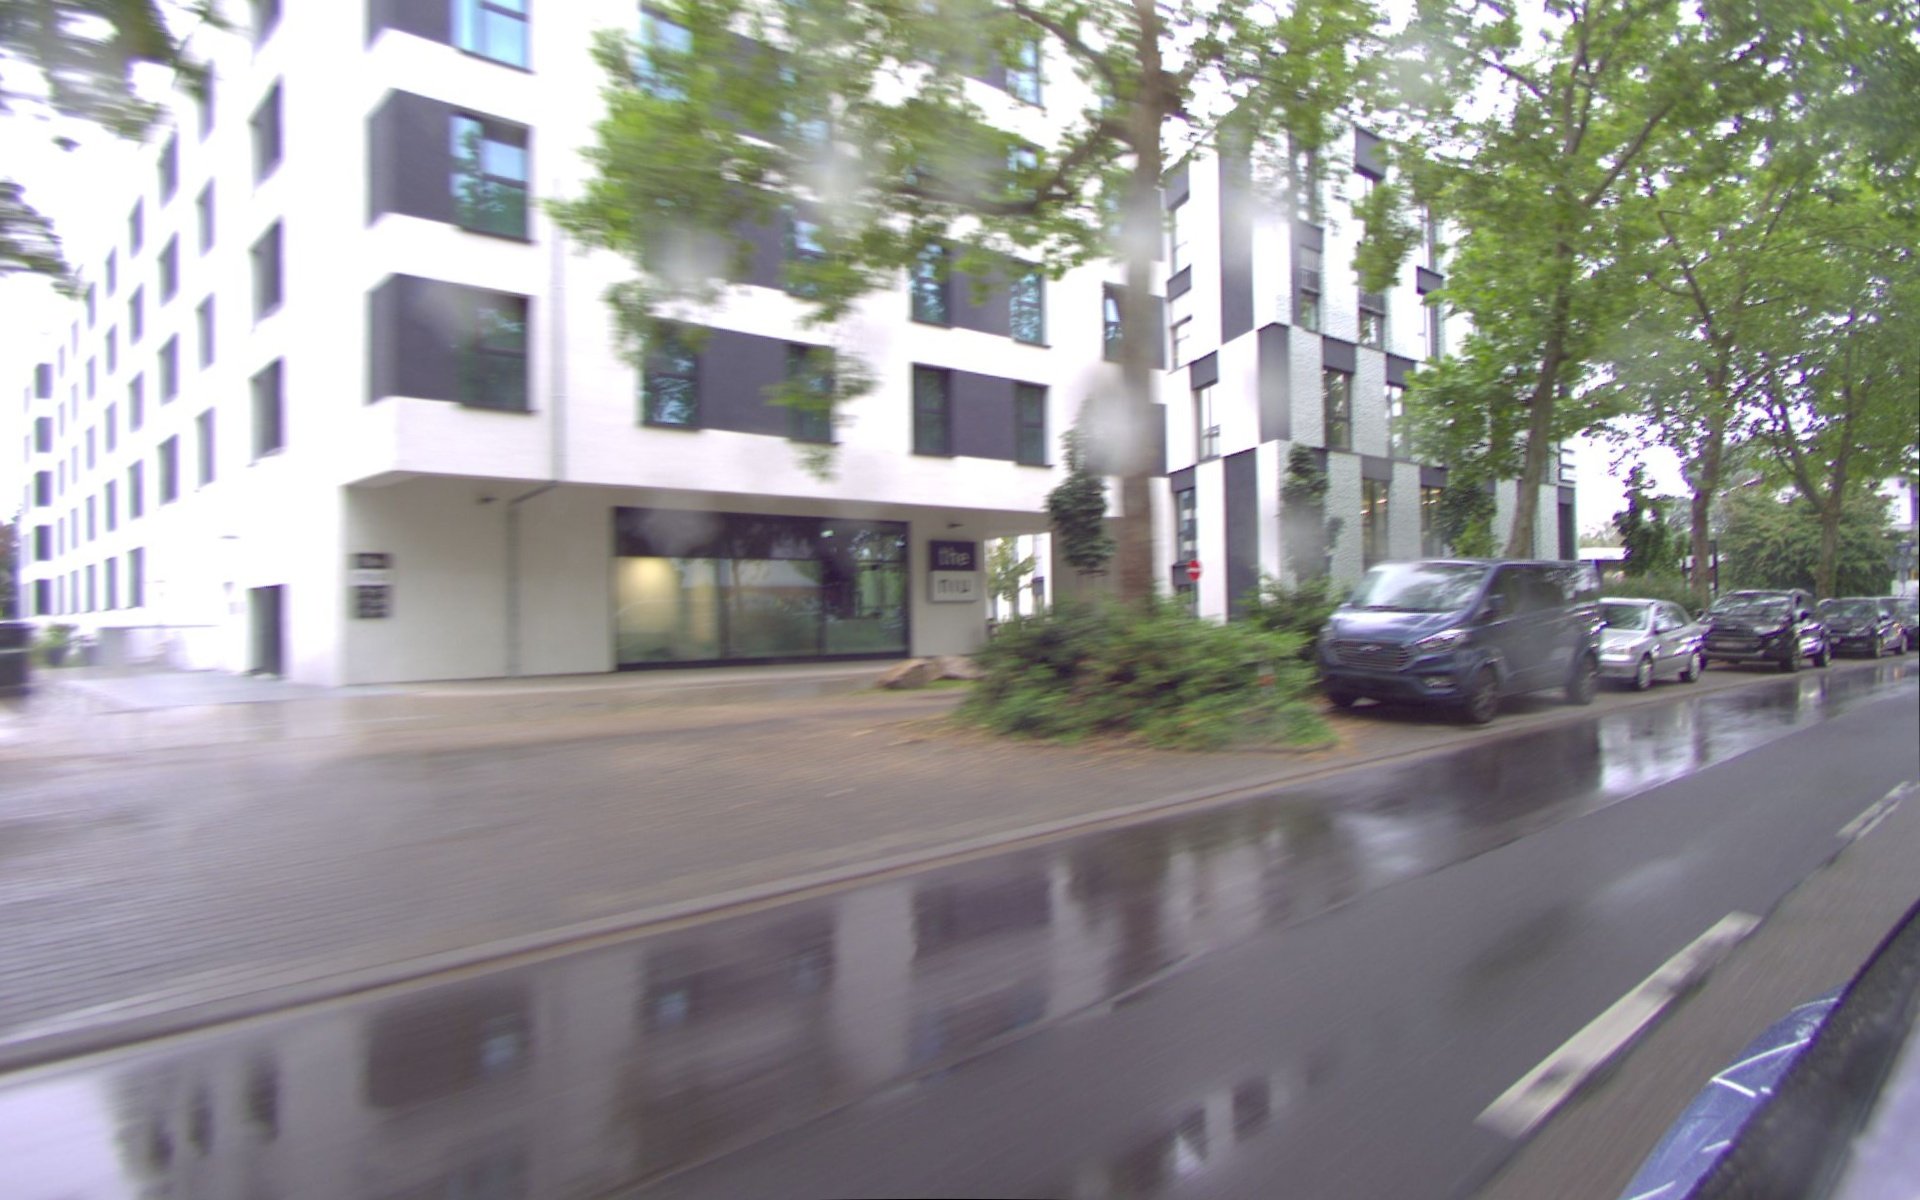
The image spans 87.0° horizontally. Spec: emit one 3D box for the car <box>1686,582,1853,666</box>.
[{"bbox_3d":[16.911,0.433,21.073,4.291,1.586,1.748,-1,0,-38],"label":"car"}]

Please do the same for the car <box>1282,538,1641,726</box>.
[{"bbox_3d":[6.852,0.329,13.539,5.426,2.054,2.126,-1,0,-38],"label":"car"}]

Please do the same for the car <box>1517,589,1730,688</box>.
[{"bbox_3d":[11.381,0.576,17.263,4.227,1.488,1.748,-1,0,-38],"label":"car"}]

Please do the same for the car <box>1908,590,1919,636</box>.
[{"bbox_3d":[32.593,0.388,32.614,4.772,1.446,1.750,-1,0,-32],"label":"car"}]

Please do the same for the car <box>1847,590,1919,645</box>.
[{"bbox_3d":[27.182,0.444,28.866,5.008,1.446,1.748,-1,0,-36],"label":"car"}]

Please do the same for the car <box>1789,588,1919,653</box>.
[{"bbox_3d":[22.399,0.462,25.125,4.005,1.495,1.749,-1,0,-35],"label":"car"}]
